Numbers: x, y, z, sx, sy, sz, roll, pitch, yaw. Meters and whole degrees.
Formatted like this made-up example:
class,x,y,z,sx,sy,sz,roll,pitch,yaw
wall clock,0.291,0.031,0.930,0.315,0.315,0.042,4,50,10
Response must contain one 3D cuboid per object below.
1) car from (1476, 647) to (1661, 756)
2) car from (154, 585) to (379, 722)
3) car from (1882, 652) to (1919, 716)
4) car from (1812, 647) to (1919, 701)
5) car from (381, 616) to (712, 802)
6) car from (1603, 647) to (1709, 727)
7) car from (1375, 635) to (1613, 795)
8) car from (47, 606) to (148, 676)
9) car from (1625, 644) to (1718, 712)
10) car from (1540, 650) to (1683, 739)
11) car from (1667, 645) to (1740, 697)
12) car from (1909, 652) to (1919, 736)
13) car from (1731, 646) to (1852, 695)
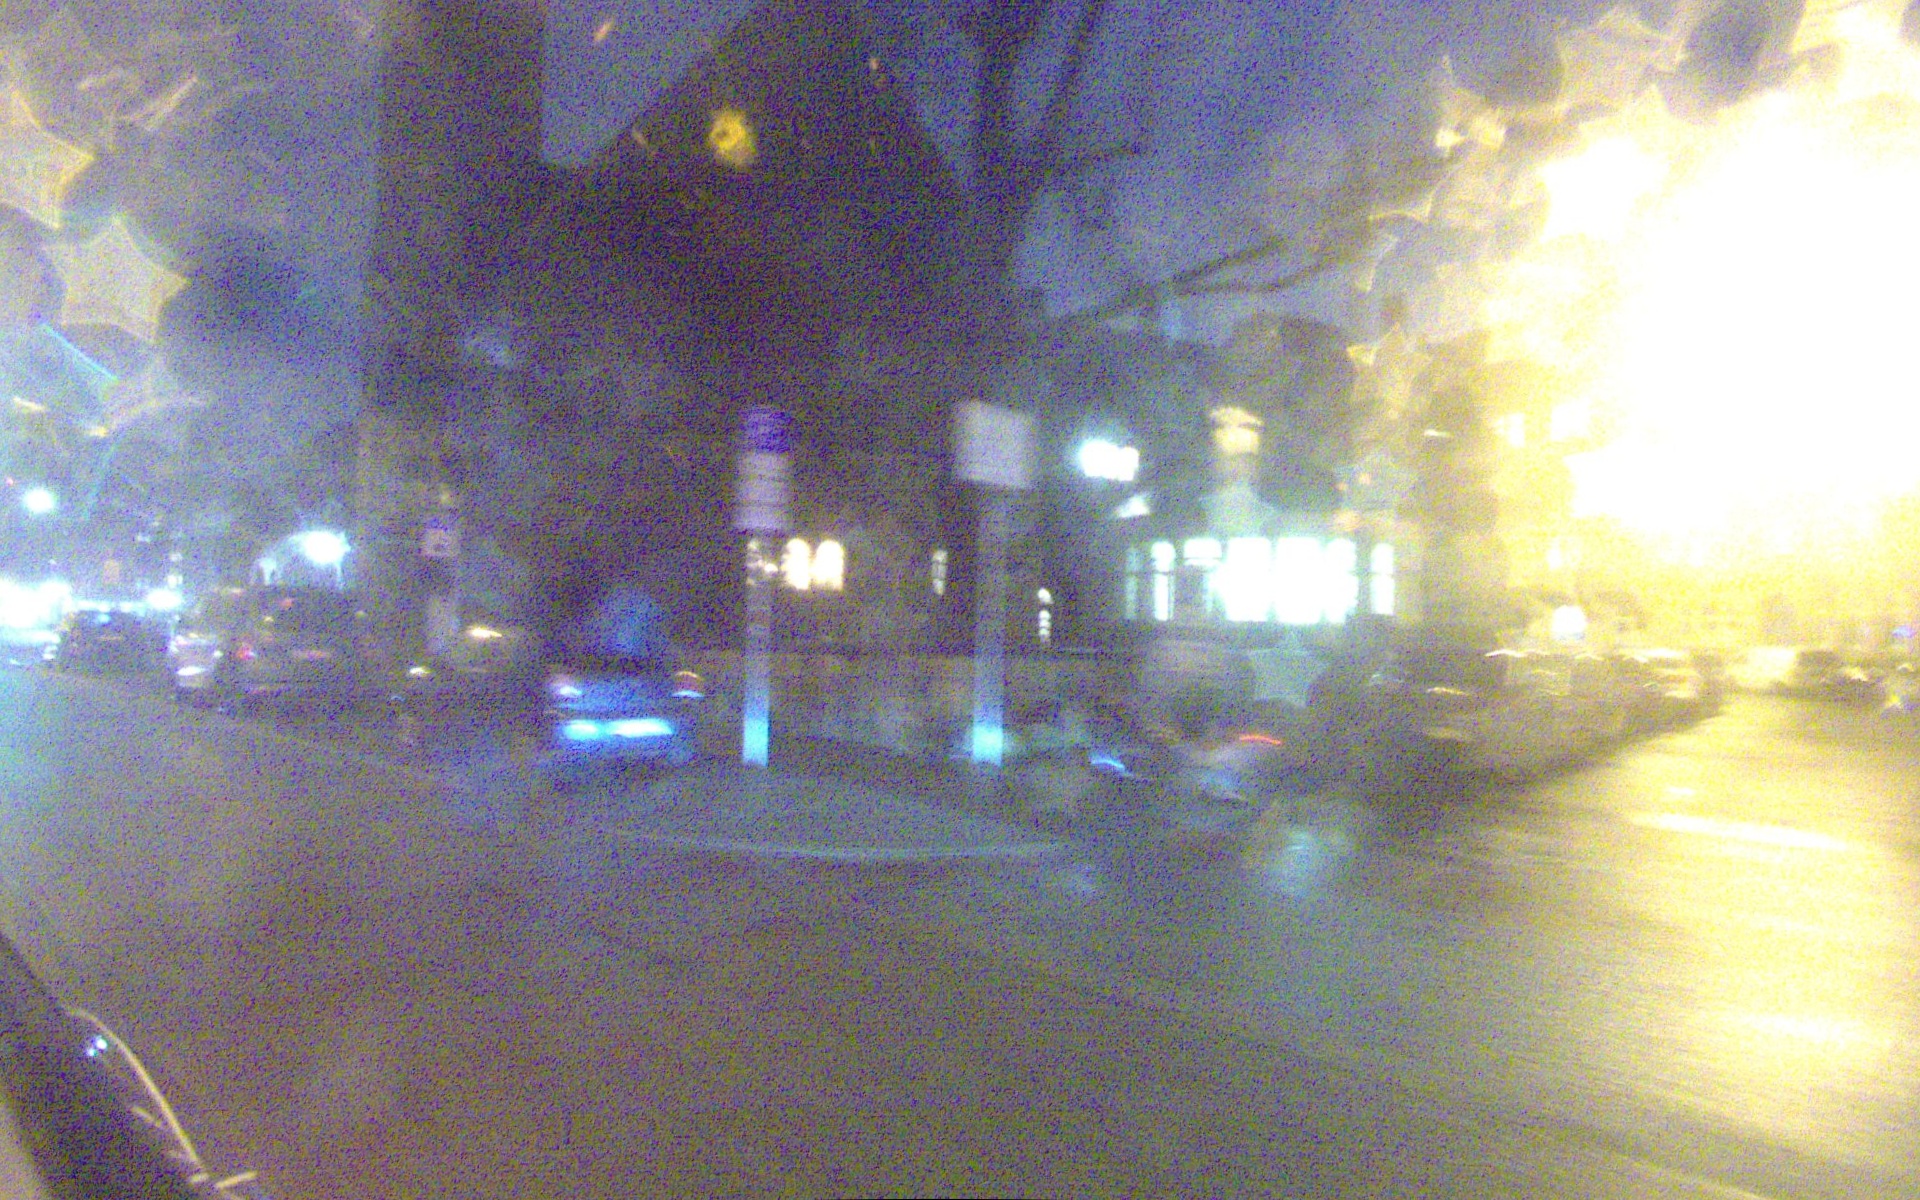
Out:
class,x,y,z,sx,sy,sz,roll,pitch,yaw
car,9.648,1.526,15.925,1.854,1.460,3.945,-1,-4,41
car,-11.121,0.788,16.075,4.826,1.860,1.846,-1,-3,42
car,27.632,2.366,28.970,1.731,1.683,3.742,-1,-2,41
car,31.439,2.499,34.865,1.752,1.683,3.799,0,-1,16
car,-4.107,0.896,9.816,3.561,1.454,1.530,-1,-1,41
car,16.463,1.963,23.877,1.852,1.620,3.949,-1,-2,38
car,6.573,1.264,12.267,1.716,1.583,3.892,-1,-3,41
car,-22.644,1.055,26.515,1.790,1.683,4.415,2,-3,-43
car,19.679,2.080,27.925,1.853,1.620,3.947,-1,-2,39
car,12.941,1.779,19.993,1.854,1.460,3.945,-1,-2,41
car,26.028,2.431,35.379,1.853,1.620,3.947,-1,-2,39
car,21.251,1.976,21.282,1.731,1.683,3.742,-1,-3,41
car,32.216,2.689,39.351,1.802,1.683,4.079,0,-1,9
